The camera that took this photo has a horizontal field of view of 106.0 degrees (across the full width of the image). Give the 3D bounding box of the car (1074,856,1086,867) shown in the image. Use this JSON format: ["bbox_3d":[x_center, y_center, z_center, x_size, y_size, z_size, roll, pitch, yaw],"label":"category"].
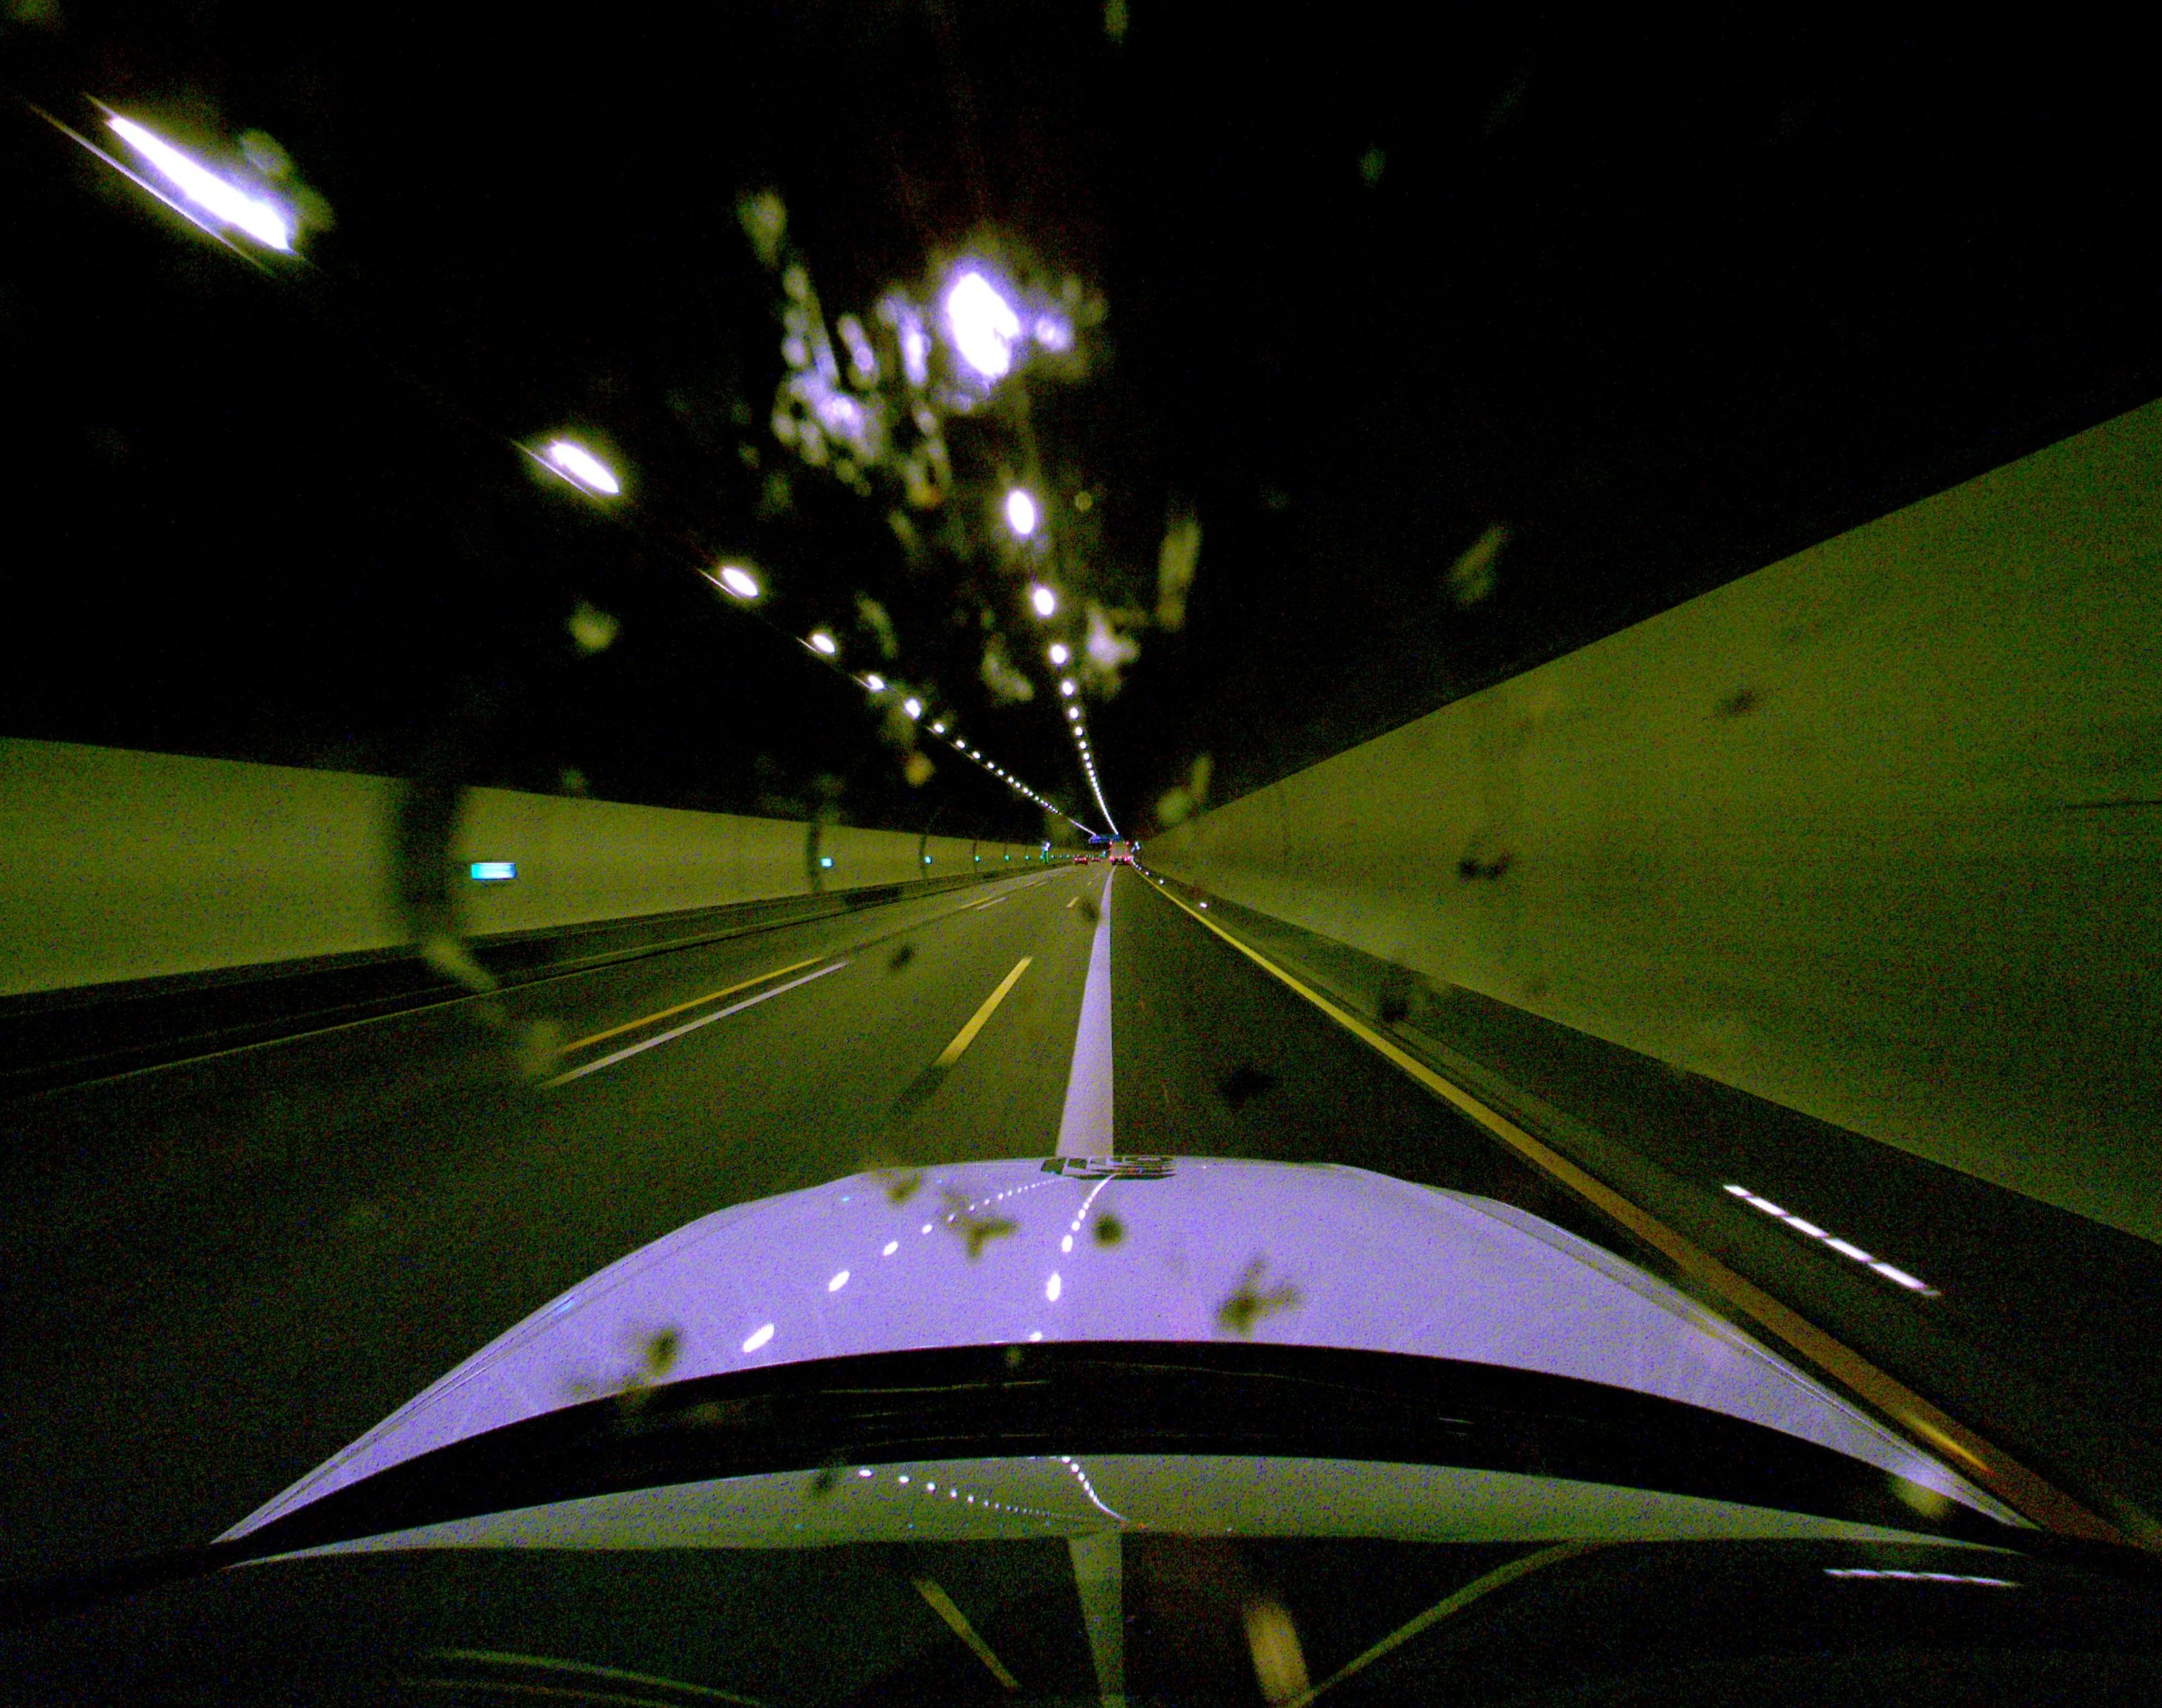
[{"bbox_3d":[-0.100,1.094,125.821,1.806,1.618,4.001,0,0,1],"label":"car"}]

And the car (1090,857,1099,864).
[{"bbox_3d":[2.975,1.427,180.622,1.807,1.520,4.000,0,1,0],"label":"car"}]

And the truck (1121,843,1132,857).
[{"bbox_3d":[13.869,-1.092,249.143,2.911,4.048,14.035,-2,0,2],"label":"truck"}]

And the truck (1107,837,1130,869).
[{"bbox_3d":[5.893,-0.171,131.036,3.267,4.650,17.290,-2,0,1],"label":"truck"}]
